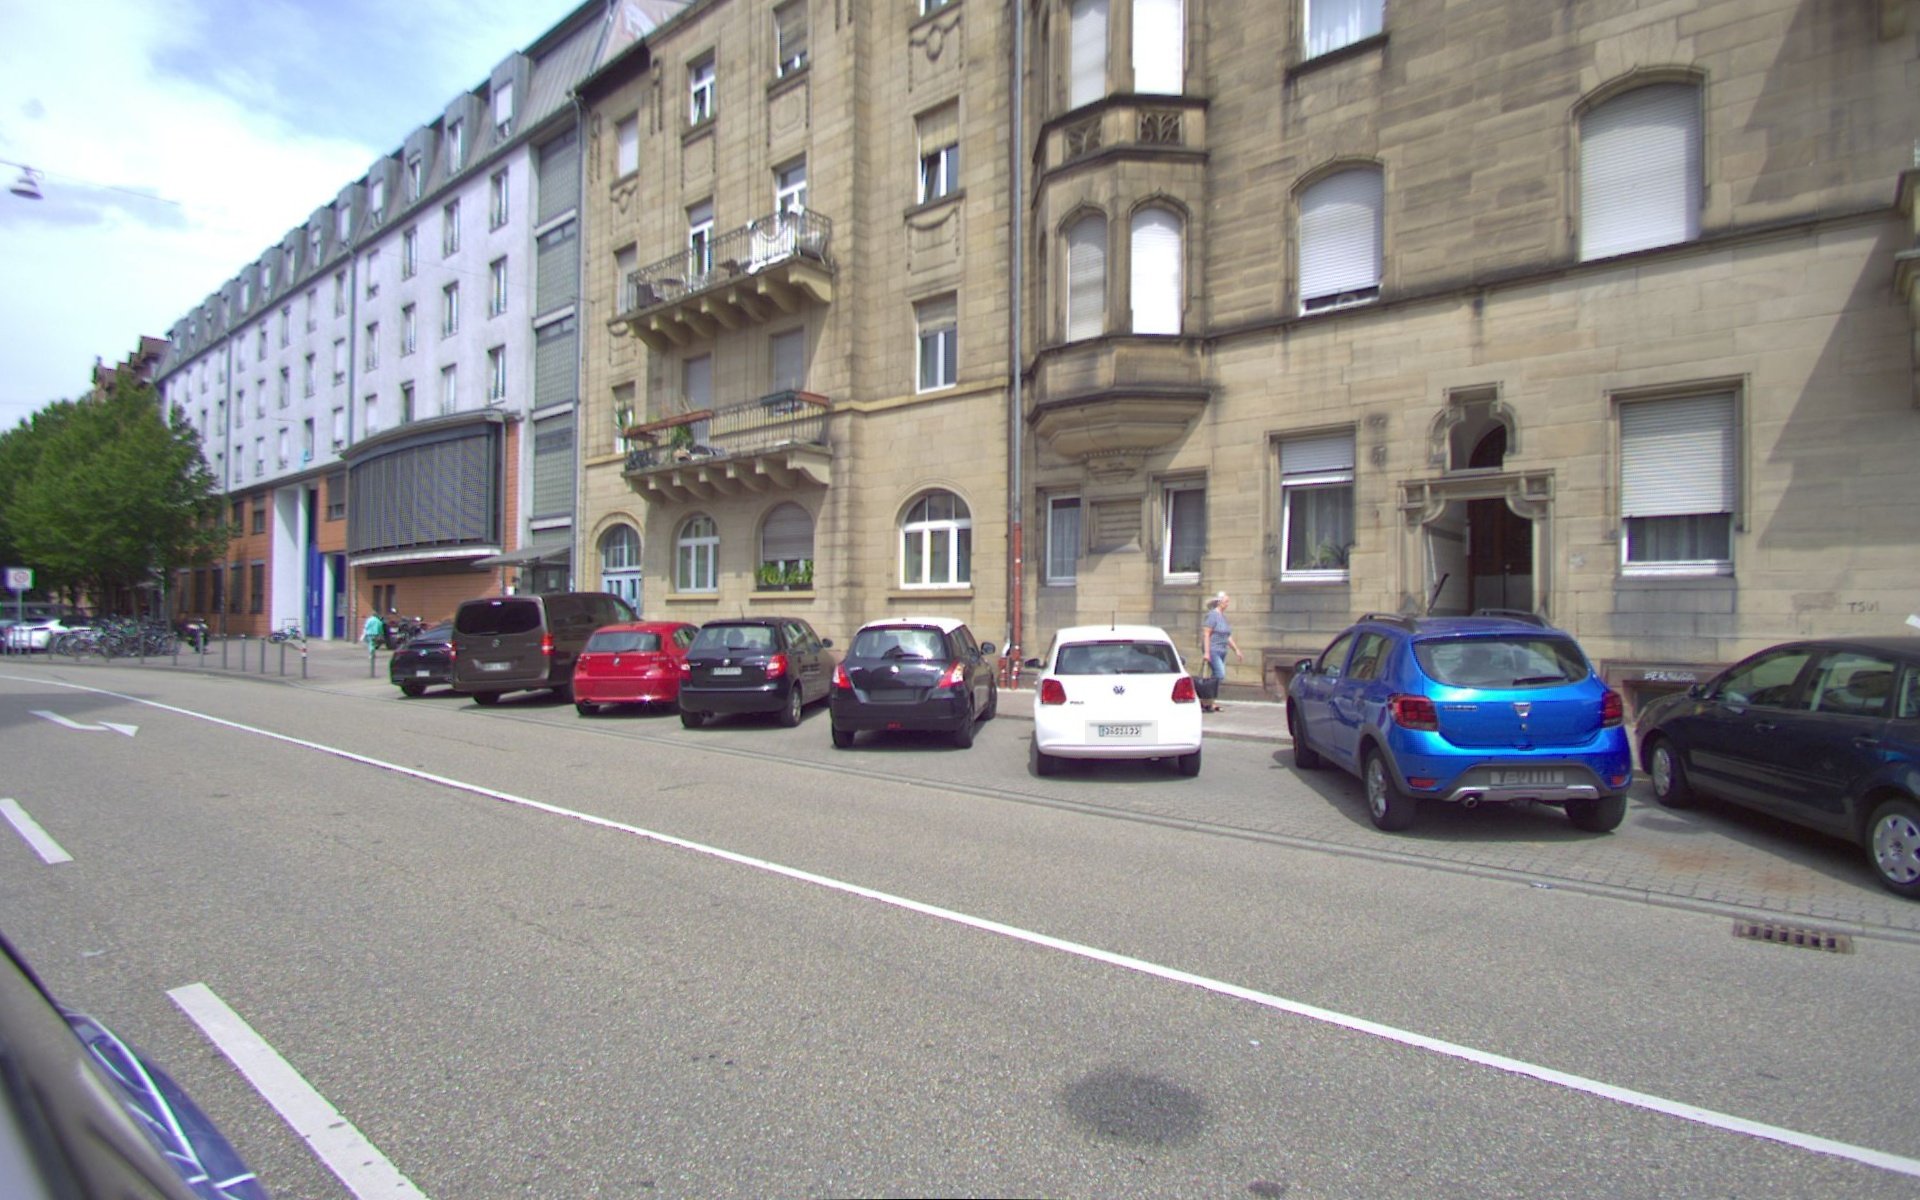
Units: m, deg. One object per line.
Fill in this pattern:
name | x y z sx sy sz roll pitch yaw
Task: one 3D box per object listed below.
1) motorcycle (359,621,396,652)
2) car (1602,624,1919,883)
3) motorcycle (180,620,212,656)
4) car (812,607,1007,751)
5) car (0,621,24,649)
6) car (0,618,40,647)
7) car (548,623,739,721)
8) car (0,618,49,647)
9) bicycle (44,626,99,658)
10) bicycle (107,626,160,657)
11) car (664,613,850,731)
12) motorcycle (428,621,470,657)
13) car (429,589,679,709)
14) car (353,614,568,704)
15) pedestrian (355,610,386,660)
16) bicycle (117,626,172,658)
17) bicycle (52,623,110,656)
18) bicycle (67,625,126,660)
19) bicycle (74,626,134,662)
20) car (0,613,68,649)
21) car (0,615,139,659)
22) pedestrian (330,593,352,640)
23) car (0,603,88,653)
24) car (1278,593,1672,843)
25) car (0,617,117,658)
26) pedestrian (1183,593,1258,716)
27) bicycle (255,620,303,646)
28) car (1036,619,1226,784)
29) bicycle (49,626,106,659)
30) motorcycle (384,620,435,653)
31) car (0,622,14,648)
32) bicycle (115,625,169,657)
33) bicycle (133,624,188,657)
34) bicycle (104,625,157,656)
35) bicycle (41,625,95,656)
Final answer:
motorcycle | -20.568 1.287 35.728 1.656 1.057 0.577 -1 -1 40
car | 6.418 0.891 6.923 1.814 1.454 3.897 0 -1 5
motorcycle | -26.122 1.280 34.597 1.779 1.181 0.577 -2 -1 43
car | -0.481 0.917 13.273 1.776 1.576 4.000 0 -1 9
car | -55.944 1.998 57.426 1.671 1.580 3.996 -1 -1 8
car | -49.936 1.666 51.884 1.671 1.465 3.996 -1 -1 8
car | -5.039 1.093 16.692 1.772 1.420 4.009 0 -1 2
car | -48.208 1.635 50.502 1.577 1.400 3.996 -1 -1 8
bicycle | -30.826 1.441 35.136 0.402 1.034 1.391 -1 0 43
bicycle | -28.800 1.429 35.258 0.402 1.034 1.390 -1 -1 43
car | -2.860 0.976 15.122 1.612 1.514 3.989 0 -1 6
motorcycle | -15.991 1.210 31.668 1.793 1.057 0.577 -2 -1 42
car | -7.309 0.847 18.998 2.096 1.924 5.259 0 -1 7
car | -9.836 1.094 20.431 1.875 1.420 4.668 -2 1 2
pedestrian | -17.833 1.042 30.607 0.508 1.497 0.653 -1 -2 39
bicycle | -27.424 1.398 34.038 0.402 1.034 1.390 -1 -1 43
bicycle | -29.401 1.312 33.861 0.402 1.046 1.391 -1 0 43
bicycle | -27.824 1.366 32.623 0.402 1.046 1.391 -1 0 43
bicycle | -27.124 1.372 32.068 0.402 1.046 1.391 -1 0 43
car | -44.033 1.422 46.832 1.692 1.627 3.996 -1 -1 8
car | -33.409 1.368 38.039 1.583 1.557 3.997 0 -1 7
pedestrian | -26.620 0.715 43.544 0.718 2.029 0.785 1 -2 -29
car | -39.902 1.155 43.047 1.841 2.013 3.993 0 0 10
car | 4.057 0.834 8.733 1.703 1.664 3.772 0 -1 5
car | -35.545 1.418 39.292 1.697 1.480 4.306 0 -1 7
pedestrian | 3.543 0.716 13.761 0.678 1.607 0.783 -1 1 41
bicycle | -28.910 1.386 42.971 1.590 0.933 0.933 -6 3 -37
car | 1.715 0.968 11.102 1.720 1.493 3.680 0 -1 5
bicycle | -29.881 1.437 34.283 0.402 1.034 1.391 -1 0 43
motorcycle | -18.639 1.231 34.265 1.959 1.057 0.579 -1 -1 30
car | -57.998 2.065 59.041 1.671 1.580 3.996 -1 -1 8
bicycle | -27.811 1.376 34.411 0.402 1.034 1.390 -1 -1 43
bicycle | -26.360 1.331 33.369 0.402 1.034 1.390 -1 -1 43
bicycle | -29.164 1.417 35.579 0.402 1.034 1.390 -1 -1 43
bicycle | -31.429 1.420 35.675 0.402 1.034 1.391 -1 0 43
